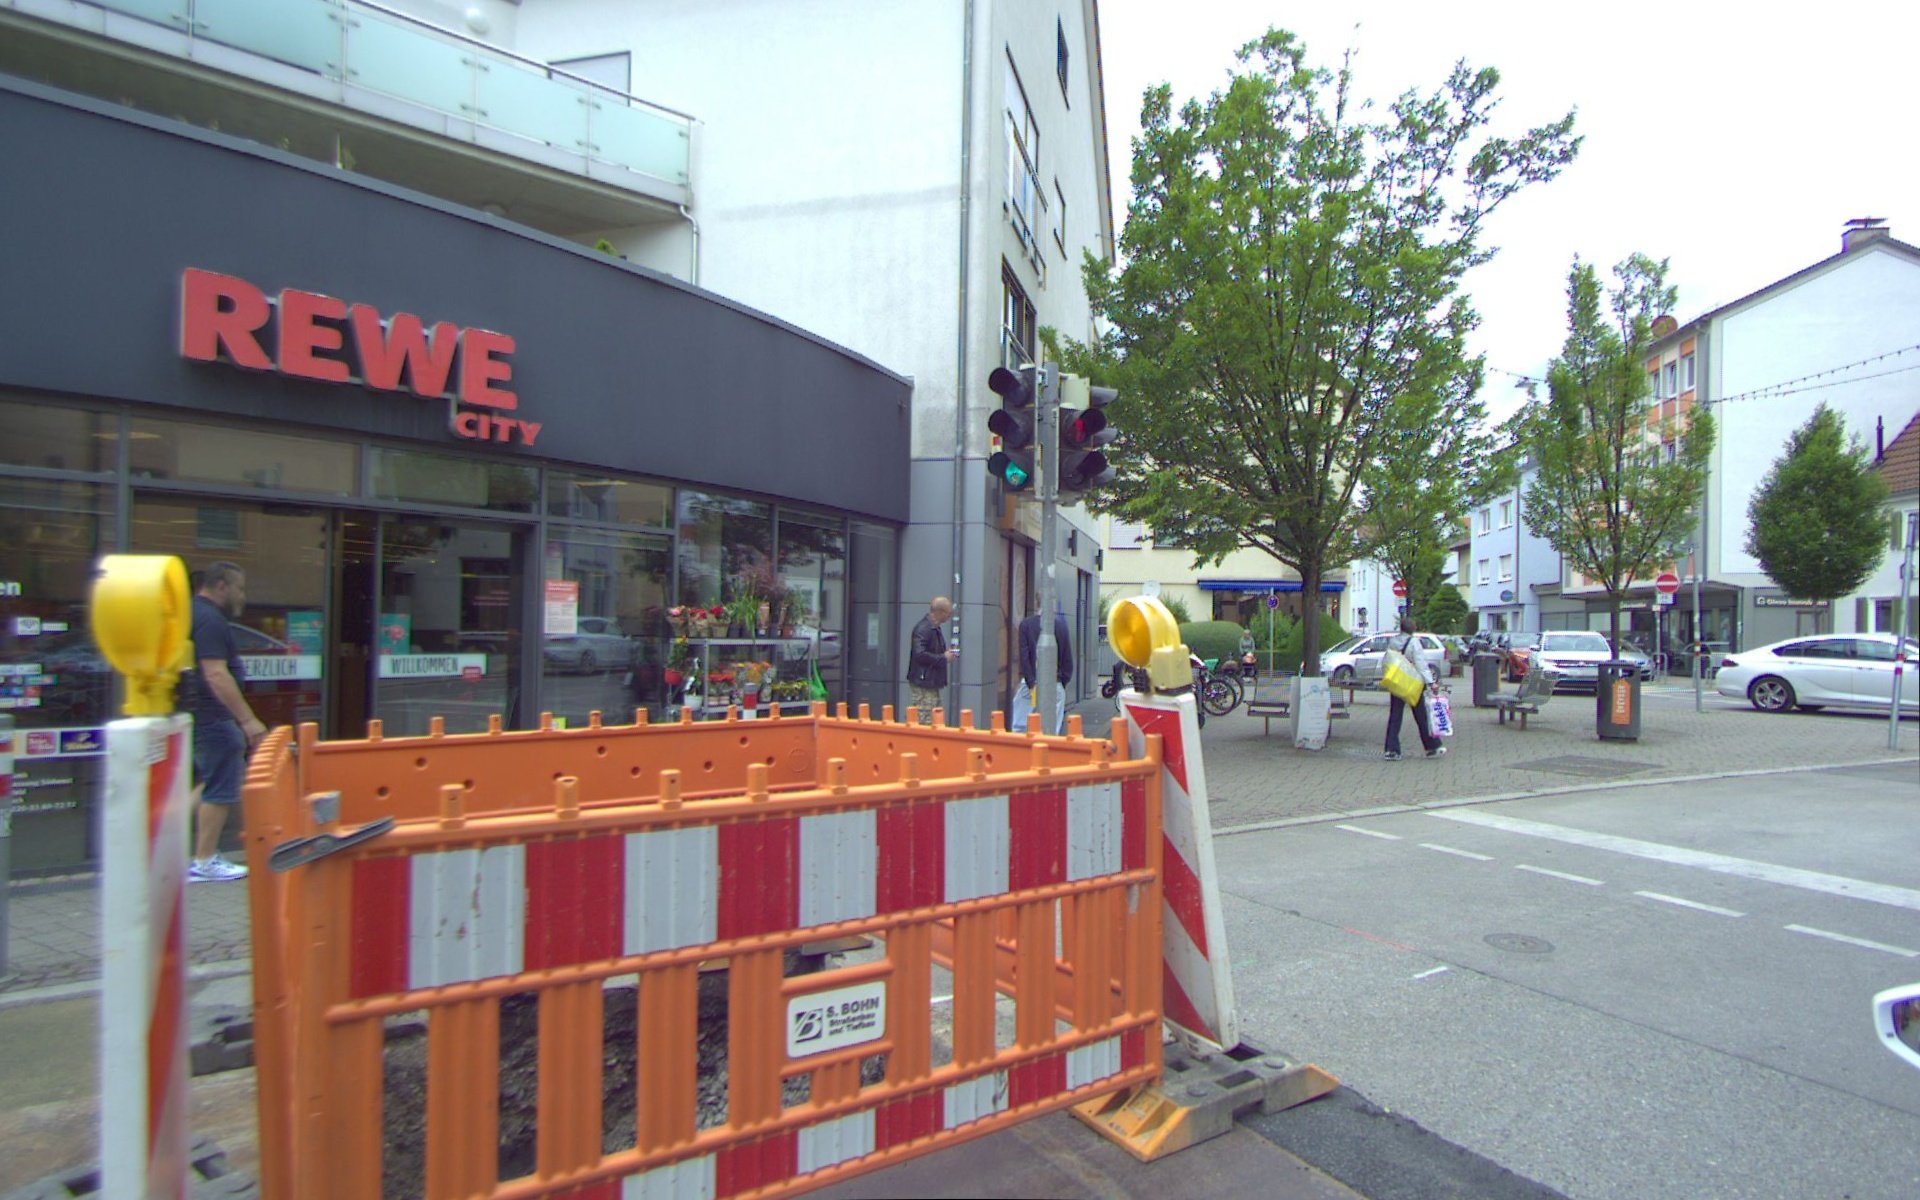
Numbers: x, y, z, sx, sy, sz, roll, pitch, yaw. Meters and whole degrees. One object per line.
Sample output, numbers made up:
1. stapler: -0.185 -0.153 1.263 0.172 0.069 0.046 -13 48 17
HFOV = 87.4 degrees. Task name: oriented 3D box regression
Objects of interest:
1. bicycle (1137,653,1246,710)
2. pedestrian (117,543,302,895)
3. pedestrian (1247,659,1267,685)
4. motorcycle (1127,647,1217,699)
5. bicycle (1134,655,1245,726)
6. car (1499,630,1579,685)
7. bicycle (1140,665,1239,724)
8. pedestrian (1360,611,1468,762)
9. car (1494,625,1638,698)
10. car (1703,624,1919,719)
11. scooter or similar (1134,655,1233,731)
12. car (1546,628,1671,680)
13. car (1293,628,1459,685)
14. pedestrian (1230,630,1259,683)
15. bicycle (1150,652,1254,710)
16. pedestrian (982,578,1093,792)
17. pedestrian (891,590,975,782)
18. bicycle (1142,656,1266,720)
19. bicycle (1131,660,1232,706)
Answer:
1. bicycle: 4.720 1.662 20.597 2.083 1.075 0.693 -2 -1 8
2. pedestrian: -4.332 0.641 5.862 0.780 1.868 0.748 1 -1 -32
3. pedestrian: 9.379 2.269 31.688 0.563 0.809 0.454 0 -2 11
4. motorcycle: 4.727 1.631 22.540 1.915 1.119 0.803 0 -2 8
5. bicycle: 3.790 1.501 16.688 1.710 1.060 0.532 -4 -2 11
6. car: 19.016 1.830 33.173 1.984 1.578 4.913 1 0 26
7. bicycle: 3.966 1.635 17.430 1.597 0.894 0.496 -5 -3 11
8. pedestrian: 5.040 0.942 11.181 0.863 1.613 0.682 1 -1 -10
9. car: 15.303 1.476 25.687 1.981 1.578 4.920 1 0 17
10. car: 16.416 1.230 17.721 2.223 1.496 4.879 1 0 -30
11. scooter or similar: 3.539 1.457 15.946 1.501 1.138 0.598 0 -1 11
12. car: 22.721 1.844 35.437 1.980 1.578 4.922 1 0 11
13. car: 12.630 1.711 30.644 4.245 1.661 1.999 0 -2 -4
14. pedestrian: 9.207 1.811 32.469 0.756 1.691 0.954 0 -2 25
15. bicycle: 4.730 1.582 19.700 1.921 1.088 0.812 -1 -2 13
16. pedestrian: 0.757 0.785 9.720 0.803 1.951 0.783 0 -1 32
17. pedestrian: -0.258 0.823 9.952 0.679 1.814 0.719 0 -1 11
18. bicycle: 4.361 1.577 18.090 2.108 1.060 0.751 -2 -2 11
19. bicycle: 4.701 1.768 21.394 2.033 0.877 0.629 -2 -1 8
